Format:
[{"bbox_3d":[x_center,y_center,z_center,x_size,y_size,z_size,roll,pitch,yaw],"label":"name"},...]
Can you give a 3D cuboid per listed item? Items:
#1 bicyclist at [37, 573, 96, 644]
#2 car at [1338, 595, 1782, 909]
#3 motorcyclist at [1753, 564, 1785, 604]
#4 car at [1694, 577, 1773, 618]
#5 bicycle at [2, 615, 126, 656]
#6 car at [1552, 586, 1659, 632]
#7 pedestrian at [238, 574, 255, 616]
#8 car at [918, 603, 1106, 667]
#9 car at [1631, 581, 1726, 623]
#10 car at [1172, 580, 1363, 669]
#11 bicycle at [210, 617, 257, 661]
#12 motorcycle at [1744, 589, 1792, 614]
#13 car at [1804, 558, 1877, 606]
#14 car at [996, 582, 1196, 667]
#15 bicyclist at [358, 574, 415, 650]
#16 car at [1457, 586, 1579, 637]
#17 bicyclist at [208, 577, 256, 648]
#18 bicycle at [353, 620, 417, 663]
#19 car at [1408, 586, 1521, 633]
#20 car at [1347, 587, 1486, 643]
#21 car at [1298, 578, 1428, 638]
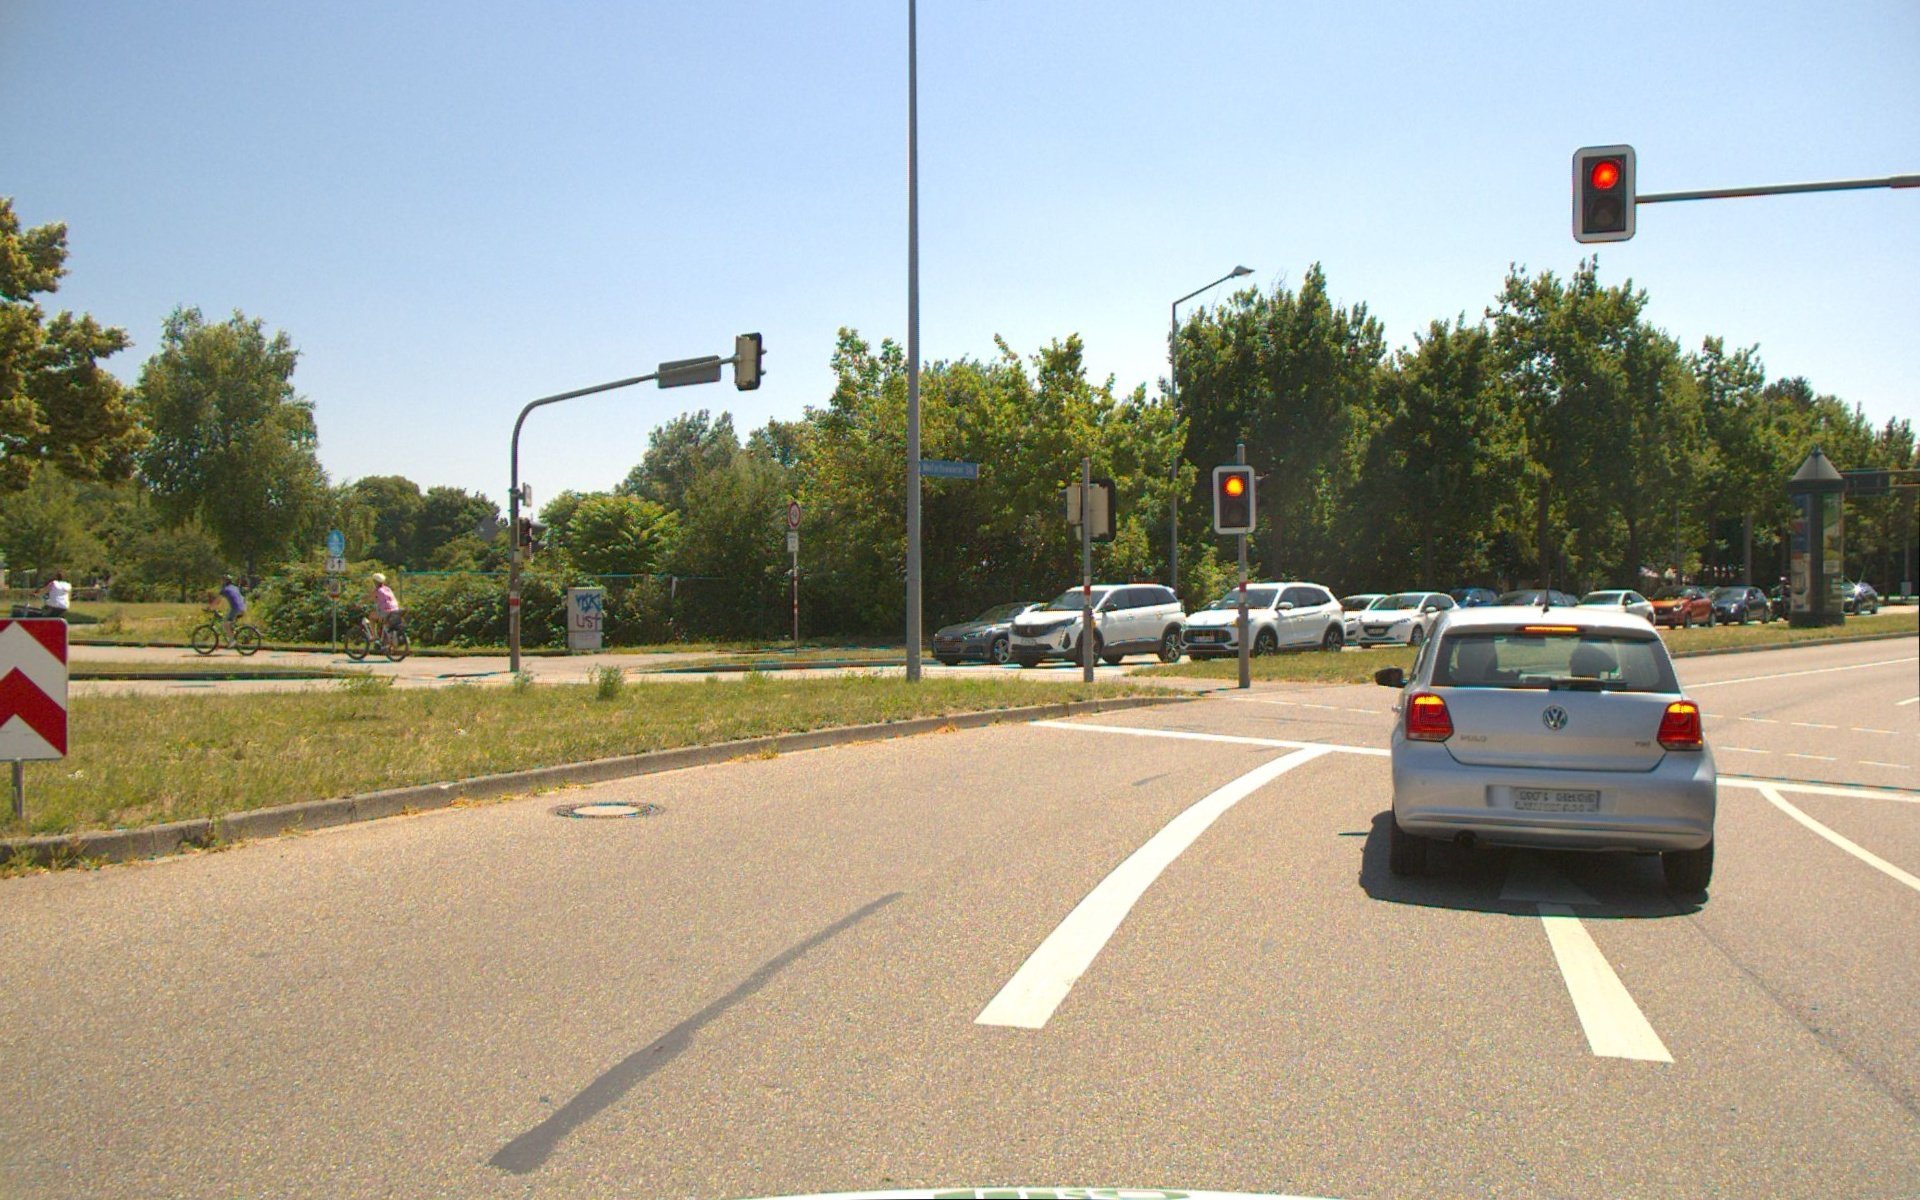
[{"bbox_3d":[-21.122,0.206,39.102,0.954,1.642,0.756,-1,-1,17],"label":"bicyclist"},{"bbox_3d":[3.347,0.723,10.000,1.738,1.447,4.004,0,1,8],"label":"car"},{"bbox_3d":[33.215,-0.666,67.894,1.003,1.614,0.894,0,-1,-44],"label":"motorcyclist"},{"bbox_3d":[29.699,-0.097,63.479,1.690,1.501,3.774,-2,-1,42],"label":"car"},{"bbox_3d":[-21.185,0.839,39.112,2.857,0.928,0.741,-1,-1,15],"label":"bicycle"},{"bbox_3d":[21.464,0.261,54.896,1.833,1.447,4.379,0,1,43],"label":"car"},{"bbox_3d":[-30.236,-0.212,70.075,0.563,1.761,0.672,-1,-1,-15],"label":"pedestrian"},{"bbox_3d":[1.239,0.746,37.438,1.833,1.292,4.379,0,1,43],"label":"car"},{"bbox_3d":[26.162,0.039,60.165,1.833,1.447,4.379,0,1,43],"label":"car"},{"bbox_3d":[6.422,0.458,34.237,1.833,1.712,4.379,0,1,43],"label":"car"},{"bbox_3d":[-16.446,0.871,37.411,0.885,0.916,1.748,1,1,-26],"label":"bicycle"},{"bbox_3d":[33.126,0.058,67.777,2.794,0.969,0.883,0,-1,-44],"label":"motorcycle"},{"bbox_3d":[39.471,-0.787,74.127,1.965,2.049,3.975,-2,-1,42],"label":"car"},{"bbox_3d":[2.893,0.459,34.480,1.833,1.646,4.379,0,1,43],"label":"car"},{"bbox_3d":[-12.638,0.261,36.453,0.948,1.638,1.172,0,-1,-32],"label":"bicyclist"},{"bbox_3d":[16.870,0.315,49.875,1.833,1.447,4.379,0,1,43],"label":"car"},{"bbox_3d":[-16.468,0.256,37.410,0.945,1.558,1.175,0,1,-27],"label":"bicyclist"},{"bbox_3d":[-12.714,0.901,36.534,0.887,0.916,2.201,1,-1,-32],"label":"bicycle"},{"bbox_3d":[16.605,0.285,54.317,1.833,1.447,4.379,0,1,43],"label":"car"},{"bbox_3d":[12.473,0.373,45.047,1.833,1.447,4.379,0,1,43],"label":"car"},{"bbox_3d":[12.052,0.205,49.311,1.833,1.712,4.379,0,1,43],"label":"car"}]
